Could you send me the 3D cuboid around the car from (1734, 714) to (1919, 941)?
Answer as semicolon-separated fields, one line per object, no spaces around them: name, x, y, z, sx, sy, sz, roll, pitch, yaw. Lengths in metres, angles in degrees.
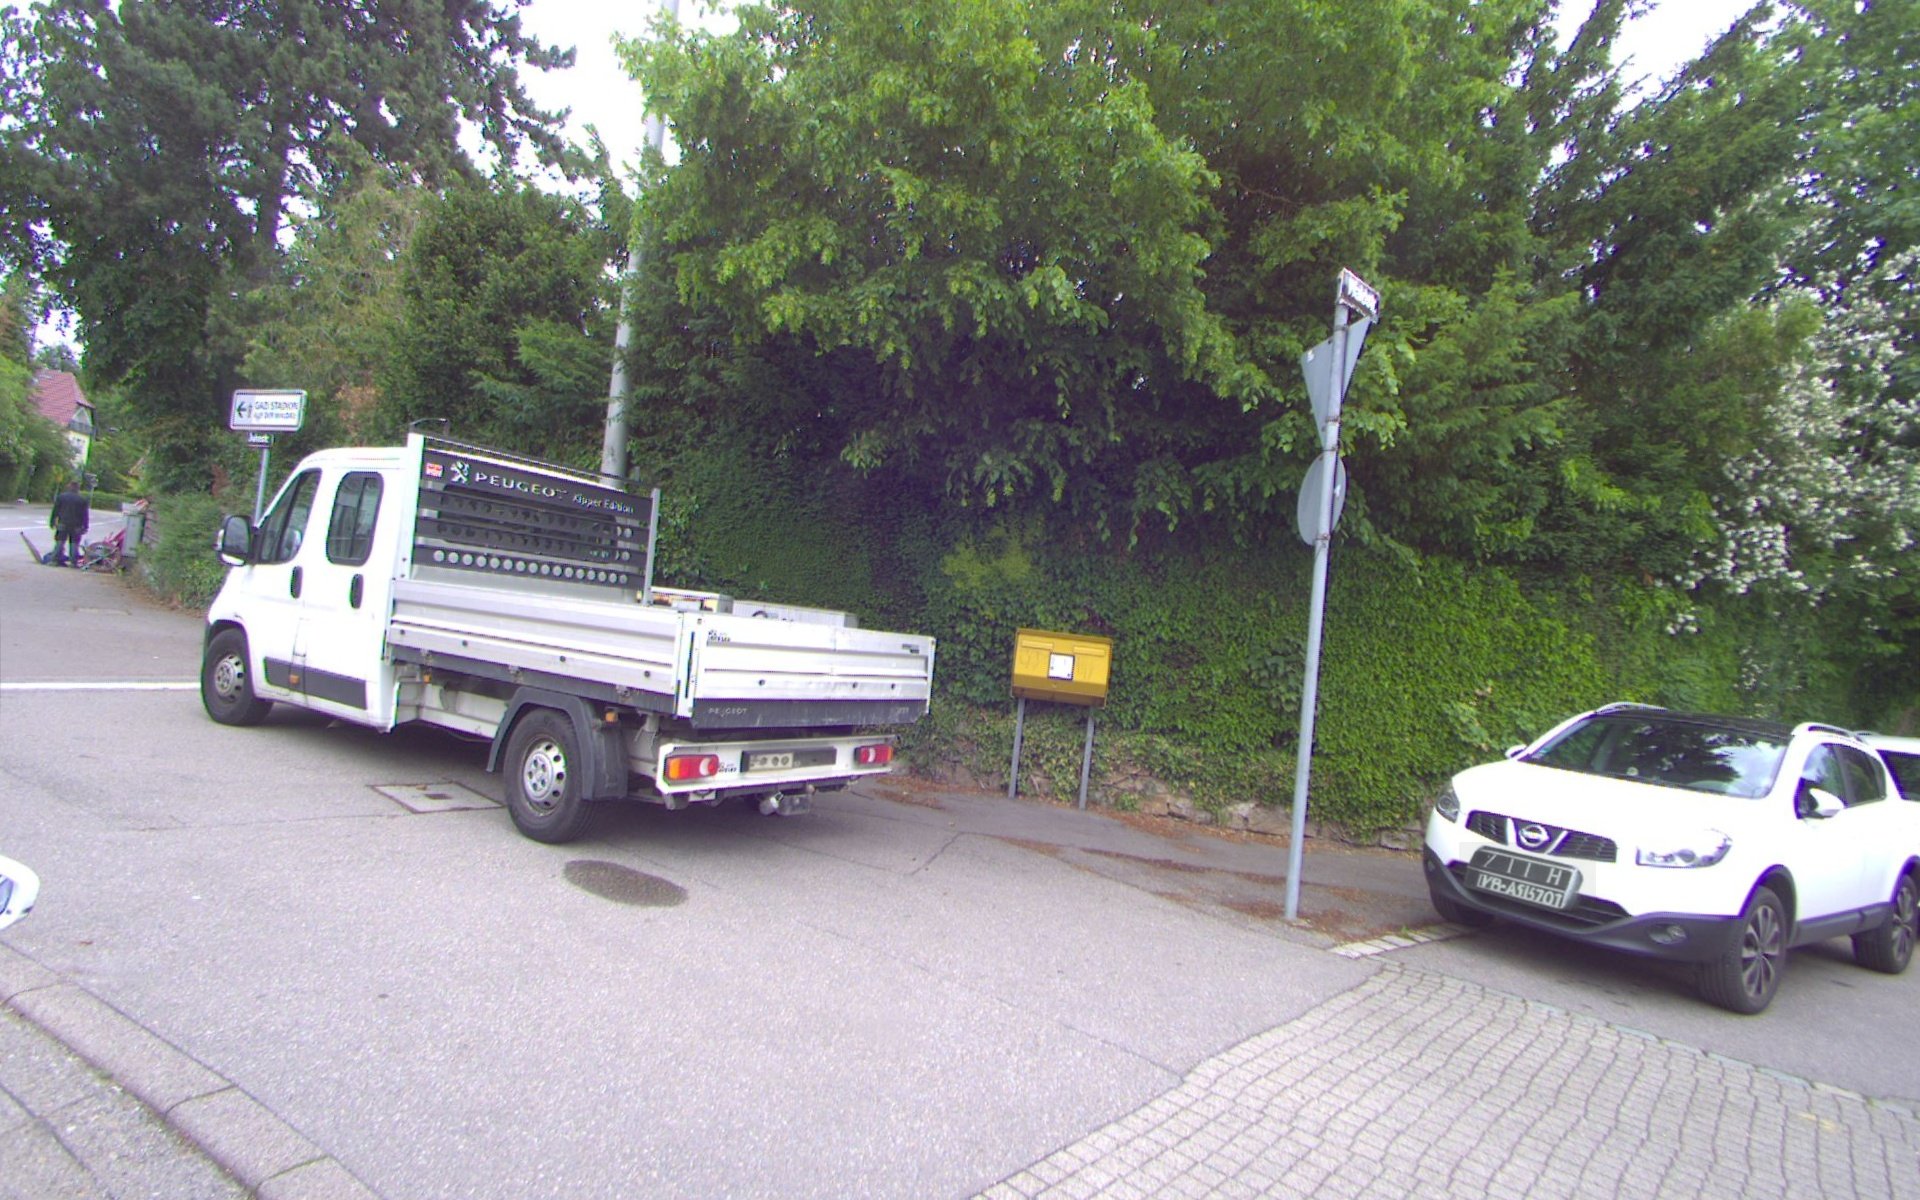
car;9.046;2.120;9.466;4.041;1.641;1.781;9;-3;-38

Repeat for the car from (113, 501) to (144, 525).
car;-71.941;-7.541;87.077;1.798;1.775;4.441;7;0;-37

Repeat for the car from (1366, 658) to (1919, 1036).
car;4.767;1.473;6.654;4.098;1.641;1.783;9;-2;-34

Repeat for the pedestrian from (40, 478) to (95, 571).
pedestrian;-19.588;-1.661;22.076;0.549;1.929;0.597;7;-1;32

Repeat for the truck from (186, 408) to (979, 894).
truck;-2.933;0.088;7.159;5.631;2.270;2.211;6;-2;34

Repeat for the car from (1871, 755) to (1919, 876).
car;13.829;2.973;13.428;4.040;1.440;1.781;8;-2;-38
